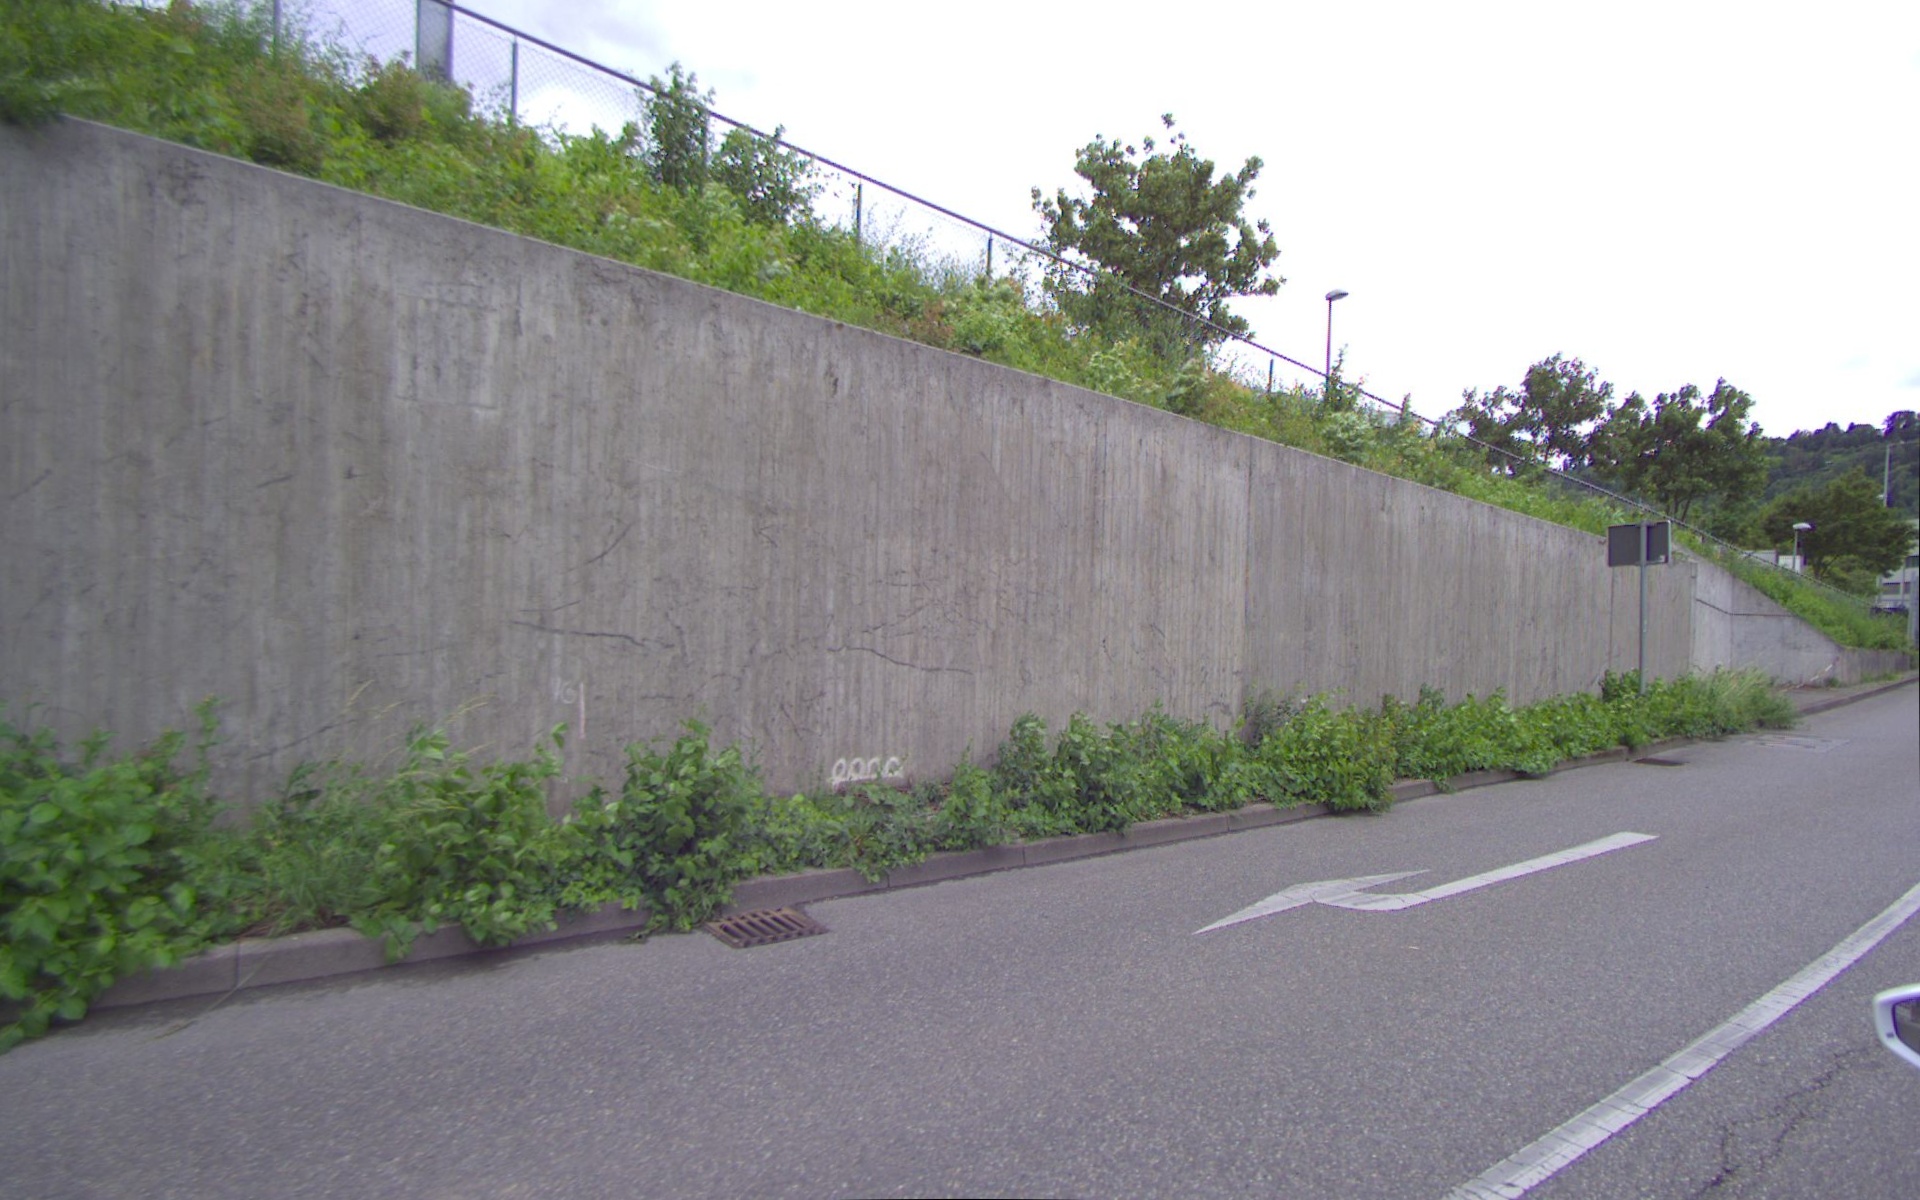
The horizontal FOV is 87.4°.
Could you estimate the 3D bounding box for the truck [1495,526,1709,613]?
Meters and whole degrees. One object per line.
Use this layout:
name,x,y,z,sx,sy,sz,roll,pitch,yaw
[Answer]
truck,29.273,-1.388,46.266,7.712,3.584,3.053,2,-2,20

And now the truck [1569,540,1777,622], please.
truck,34.270,-0.923,48.716,7.718,3.584,3.051,2,-2,25

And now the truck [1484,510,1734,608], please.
truck,26.133,-1.667,40.979,7.995,3.584,3.053,2,-2,20

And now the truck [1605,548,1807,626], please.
truck,38.009,-0.665,51.549,7.714,3.584,3.052,2,-2,22
